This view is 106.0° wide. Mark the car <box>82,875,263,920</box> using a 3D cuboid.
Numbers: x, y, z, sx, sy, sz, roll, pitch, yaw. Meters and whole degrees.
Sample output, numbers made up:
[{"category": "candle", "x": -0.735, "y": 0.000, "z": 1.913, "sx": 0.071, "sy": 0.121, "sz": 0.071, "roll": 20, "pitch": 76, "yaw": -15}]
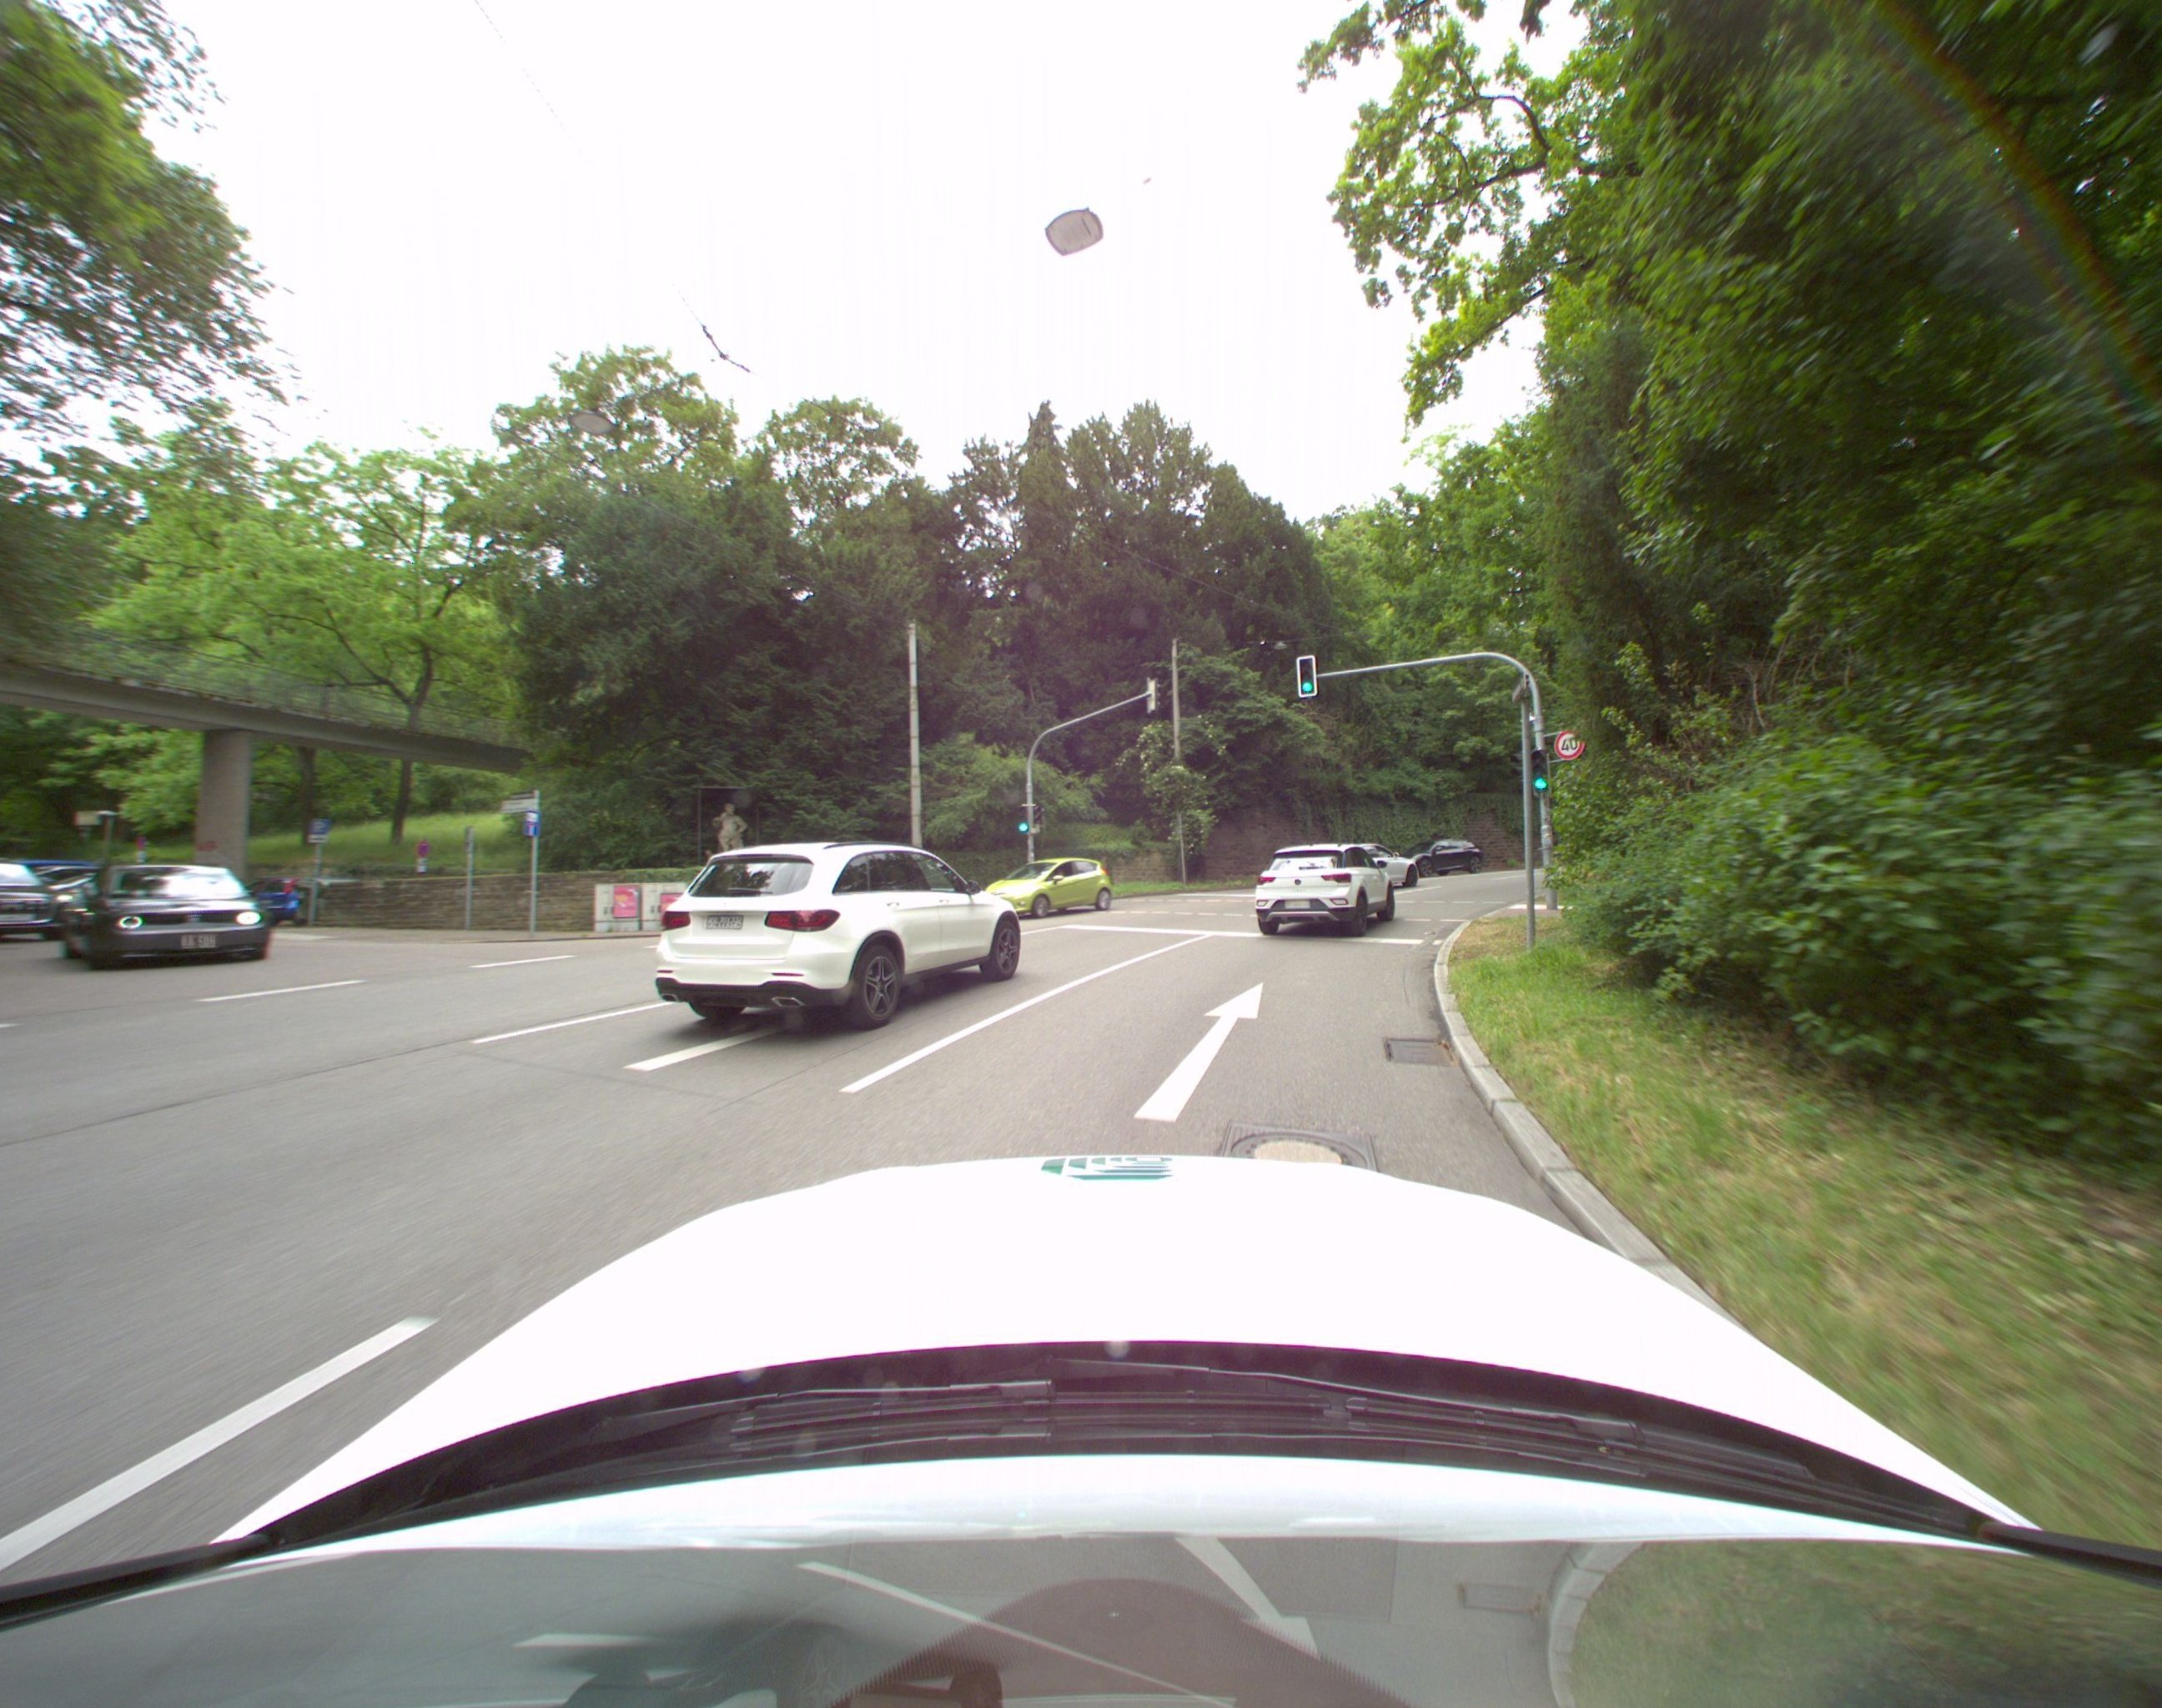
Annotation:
[{"category": "car", "x": -33.430, "y": 1.598, "z": 30.113, "sx": 1.803, "sy": 1.519, "sz": 4.021, "roll": 0, "pitch": -2, "yaw": 23}]

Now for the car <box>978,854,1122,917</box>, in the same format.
[{"category": "car", "x": -0.710, "y": 0.764, "z": 21.186, "sx": 1.539, "sy": 1.423, "sz": 3.924, "roll": -1, "pitch": 0, "yaw": 38}]

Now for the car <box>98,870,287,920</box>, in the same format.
[{"category": "car", "x": -31.202, "y": 1.481, "z": 28.760, "sx": 1.754, "sy": 1.587, "sz": 4.019, "roll": 0, "pitch": -4, "yaw": 22}]

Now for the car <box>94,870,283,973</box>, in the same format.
[{"category": "car", "x": -13.960, "y": 0.959, "z": 12.735, "sx": 3.949, "sy": 1.358, "sz": 1.764, "roll": -2, "pitch": -2, "yaw": 41}]

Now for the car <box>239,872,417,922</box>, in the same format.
[{"category": "car", "x": -24.992, "y": 1.402, "z": 27.234, "sx": 1.758, "sy": 1.552, "sz": 4.013, "roll": 0, "pitch": -2, "yaw": 12}]

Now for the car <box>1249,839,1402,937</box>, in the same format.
[{"category": "car", "x": 4.711, "y": 0.533, "z": 15.245, "sx": 1.737, "sy": 1.552, "sz": 4.365, "roll": -2, "pitch": 0, "yaw": 30}]

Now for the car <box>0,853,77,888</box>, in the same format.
[{"category": "car", "x": -49.512, "y": 0.759, "z": 37.329, "sx": 1.680, "sy": 1.593, "sz": 4.021, "roll": -1, "pitch": -3, "yaw": 22}]

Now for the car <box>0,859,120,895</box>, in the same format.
[{"category": "car", "x": -47.274, "y": 1.079, "z": 37.144, "sx": 1.803, "sy": 1.519, "sz": 4.021, "roll": -1, "pitch": -4, "yaw": 23}]

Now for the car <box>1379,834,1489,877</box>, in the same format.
[{"category": "car", "x": 14.608, "y": 0.070, "z": 33.642, "sx": 4.406, "sy": 1.543, "sz": 1.622, "roll": -3, "pitch": -1, "yaw": -26}]

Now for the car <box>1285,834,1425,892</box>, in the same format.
[{"category": "car", "x": 8.482, "y": 0.232, "z": 25.014, "sx": 4.802, "sy": 1.534, "sz": 1.849, "roll": -2, "pitch": 0, "yaw": -41}]

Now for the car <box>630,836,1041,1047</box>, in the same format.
[{"category": "car", "x": -2.130, "y": 0.647, "z": 8.708, "sx": 1.844, "sy": 1.605, "sz": 4.692, "roll": 0, "pitch": 1, "yaw": 18}]

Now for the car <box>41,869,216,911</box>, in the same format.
[{"category": "car", "x": -37.380, "y": 1.461, "z": 32.094, "sx": 1.803, "sy": 1.519, "sz": 4.020, "roll": 0, "pitch": -4, "yaw": 23}]
